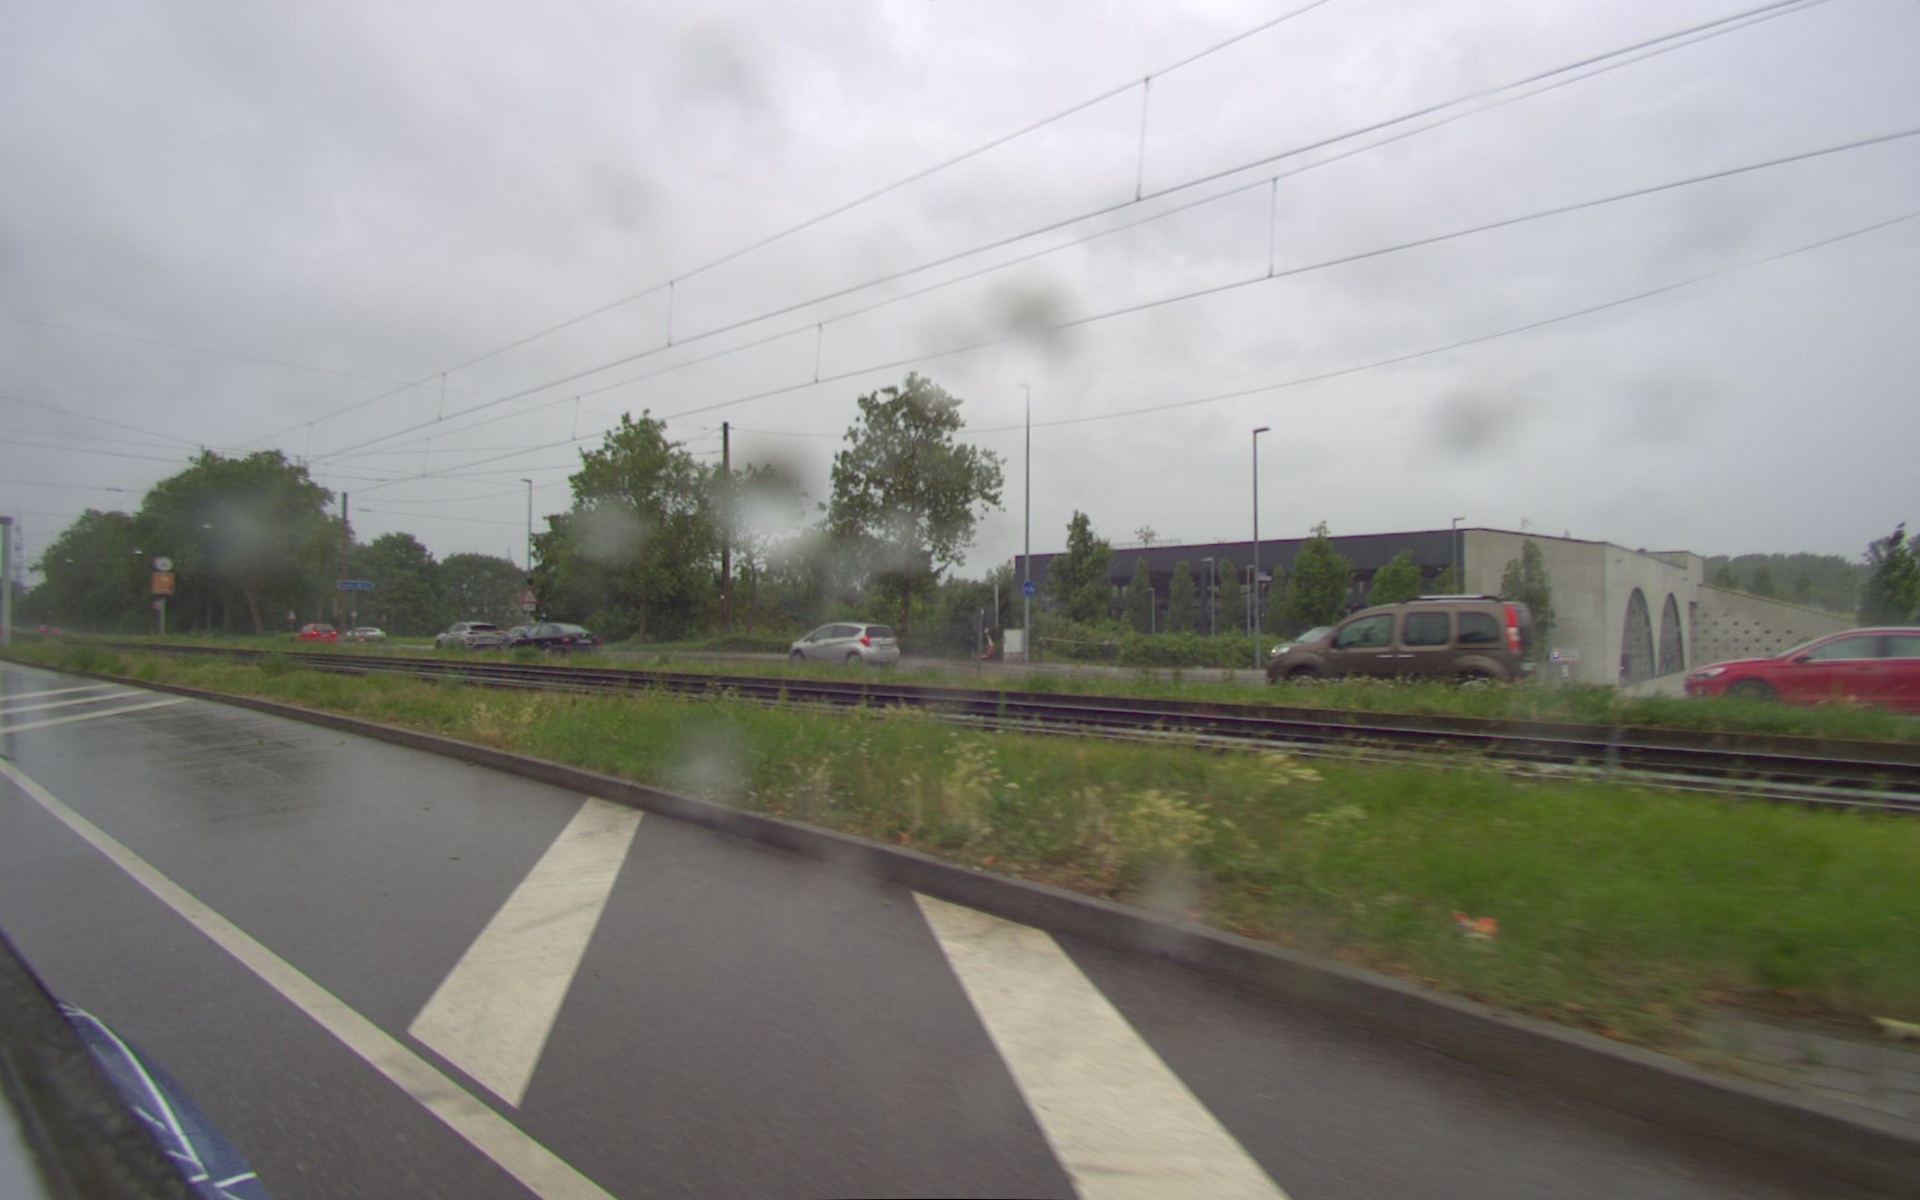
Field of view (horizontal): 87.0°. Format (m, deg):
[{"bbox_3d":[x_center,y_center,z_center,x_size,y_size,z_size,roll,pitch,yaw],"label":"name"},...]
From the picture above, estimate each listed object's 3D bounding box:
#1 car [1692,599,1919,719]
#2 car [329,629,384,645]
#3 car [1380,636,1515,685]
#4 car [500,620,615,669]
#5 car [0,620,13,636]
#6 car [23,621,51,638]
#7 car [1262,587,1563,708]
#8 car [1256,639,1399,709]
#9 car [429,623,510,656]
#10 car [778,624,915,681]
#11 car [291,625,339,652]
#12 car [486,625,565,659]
[{"bbox_3d":[14.189,0.858,15.528,4.623,1.720,1.973,-1,-1,41],"label":"car"},{"bbox_3d":[-59.077,3.595,99.072,4.422,1.366,1.609,0,-1,-41],"label":"car"},{"bbox_3d":[16.762,2.032,34.749,4.299,1.453,2.006,-1,-1,-28],"label":"car"},{"bbox_3d":[-14.331,1.577,35.909,4.379,1.608,1.972,-2,-5,42],"label":"car"},{"bbox_3d":[-123.785,3.677,130.559,3.999,2.029,1.972,-2,-1,42],"label":"car"},{"bbox_3d":[-116.830,3.724,128.037,4.515,2.029,1.951,-1,-1,38],"label":"car"},{"bbox_3d":[7.544,0.743,17.100,4.256,1.785,1.973,-1,-1,41],"label":"car"},{"bbox_3d":[11.282,2.209,31.053,3.931,1.874,2.006,0,-1,-29],"label":"car"},{"bbox_3d":[-23.591,1.862,48.587,4.296,1.497,1.973,-1,-1,41],"label":"car"},{"bbox_3d":[-3.607,1.614,31.915,4.089,1.608,1.974,-1,0,39],"label":"car"},{"bbox_3d":[-40.084,2.374,62.903,3.618,1.602,1.585,-1,-1,42],"label":"car"},{"bbox_3d":[-22.604,2.151,52.543,4.535,1.694,1.973,-1,-1,40],"label":"car"}]
